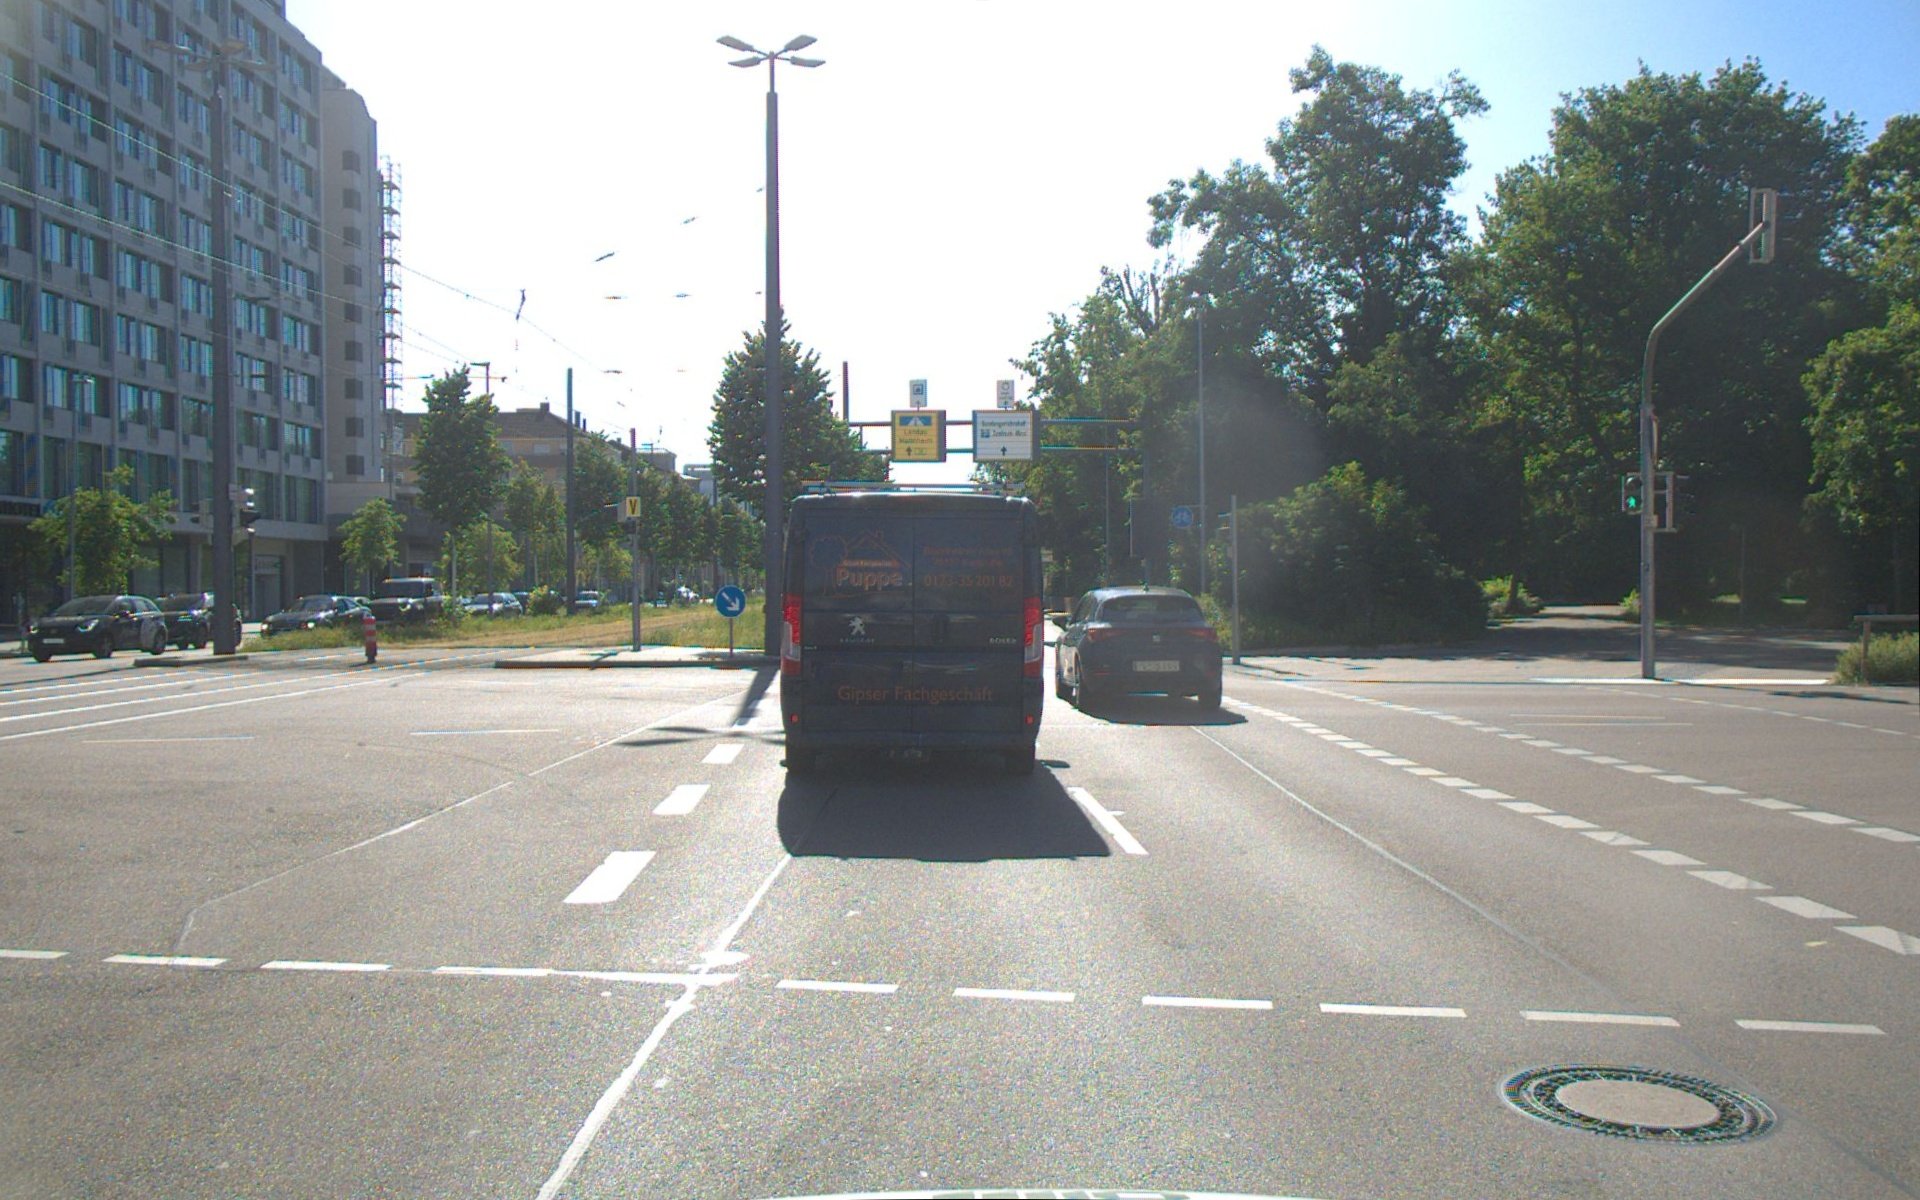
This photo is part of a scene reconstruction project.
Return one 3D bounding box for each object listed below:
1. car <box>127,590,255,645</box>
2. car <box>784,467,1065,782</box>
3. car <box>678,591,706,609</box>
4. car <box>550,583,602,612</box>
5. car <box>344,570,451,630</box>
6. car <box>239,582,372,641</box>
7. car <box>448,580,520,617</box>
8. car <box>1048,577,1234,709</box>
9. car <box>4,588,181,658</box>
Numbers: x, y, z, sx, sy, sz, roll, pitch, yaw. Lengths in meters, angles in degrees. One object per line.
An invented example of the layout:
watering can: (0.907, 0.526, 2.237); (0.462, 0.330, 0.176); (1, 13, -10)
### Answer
car: (-23.387, 0.509, 50.475); (1.952, 1.579, 4.001); (0, 1, 1)
car: (-0.296, 0.159, 14.105); (2.040, 2.288, 3.999); (0, 1, -1)
car: (-24.804, -0.030, 153.201); (1.952, 1.579, 4.000); (0, 1, 0)
car: (-21.812, -0.163, 94.087); (1.952, 1.579, 4.001); (0, 1, 1)
car: (-18.258, -0.020, 53.907); (1.952, 1.851, 4.286); (0, 1, 1)
car: (-18.344, 0.286, 46.521); (1.952, 1.579, 4.002); (1, 1, 3)
car: (-21.123, -0.079, 73.551); (1.952, 1.579, 4.001); (0, 1, 1)
car: (2.166, 0.463, 20.785); (1.728, 1.488, 3.998); (0, 1, -3)
car: (-21.007, 0.511, 40.248); (1.951, 1.579, 4.002); (1, 1, 5)
